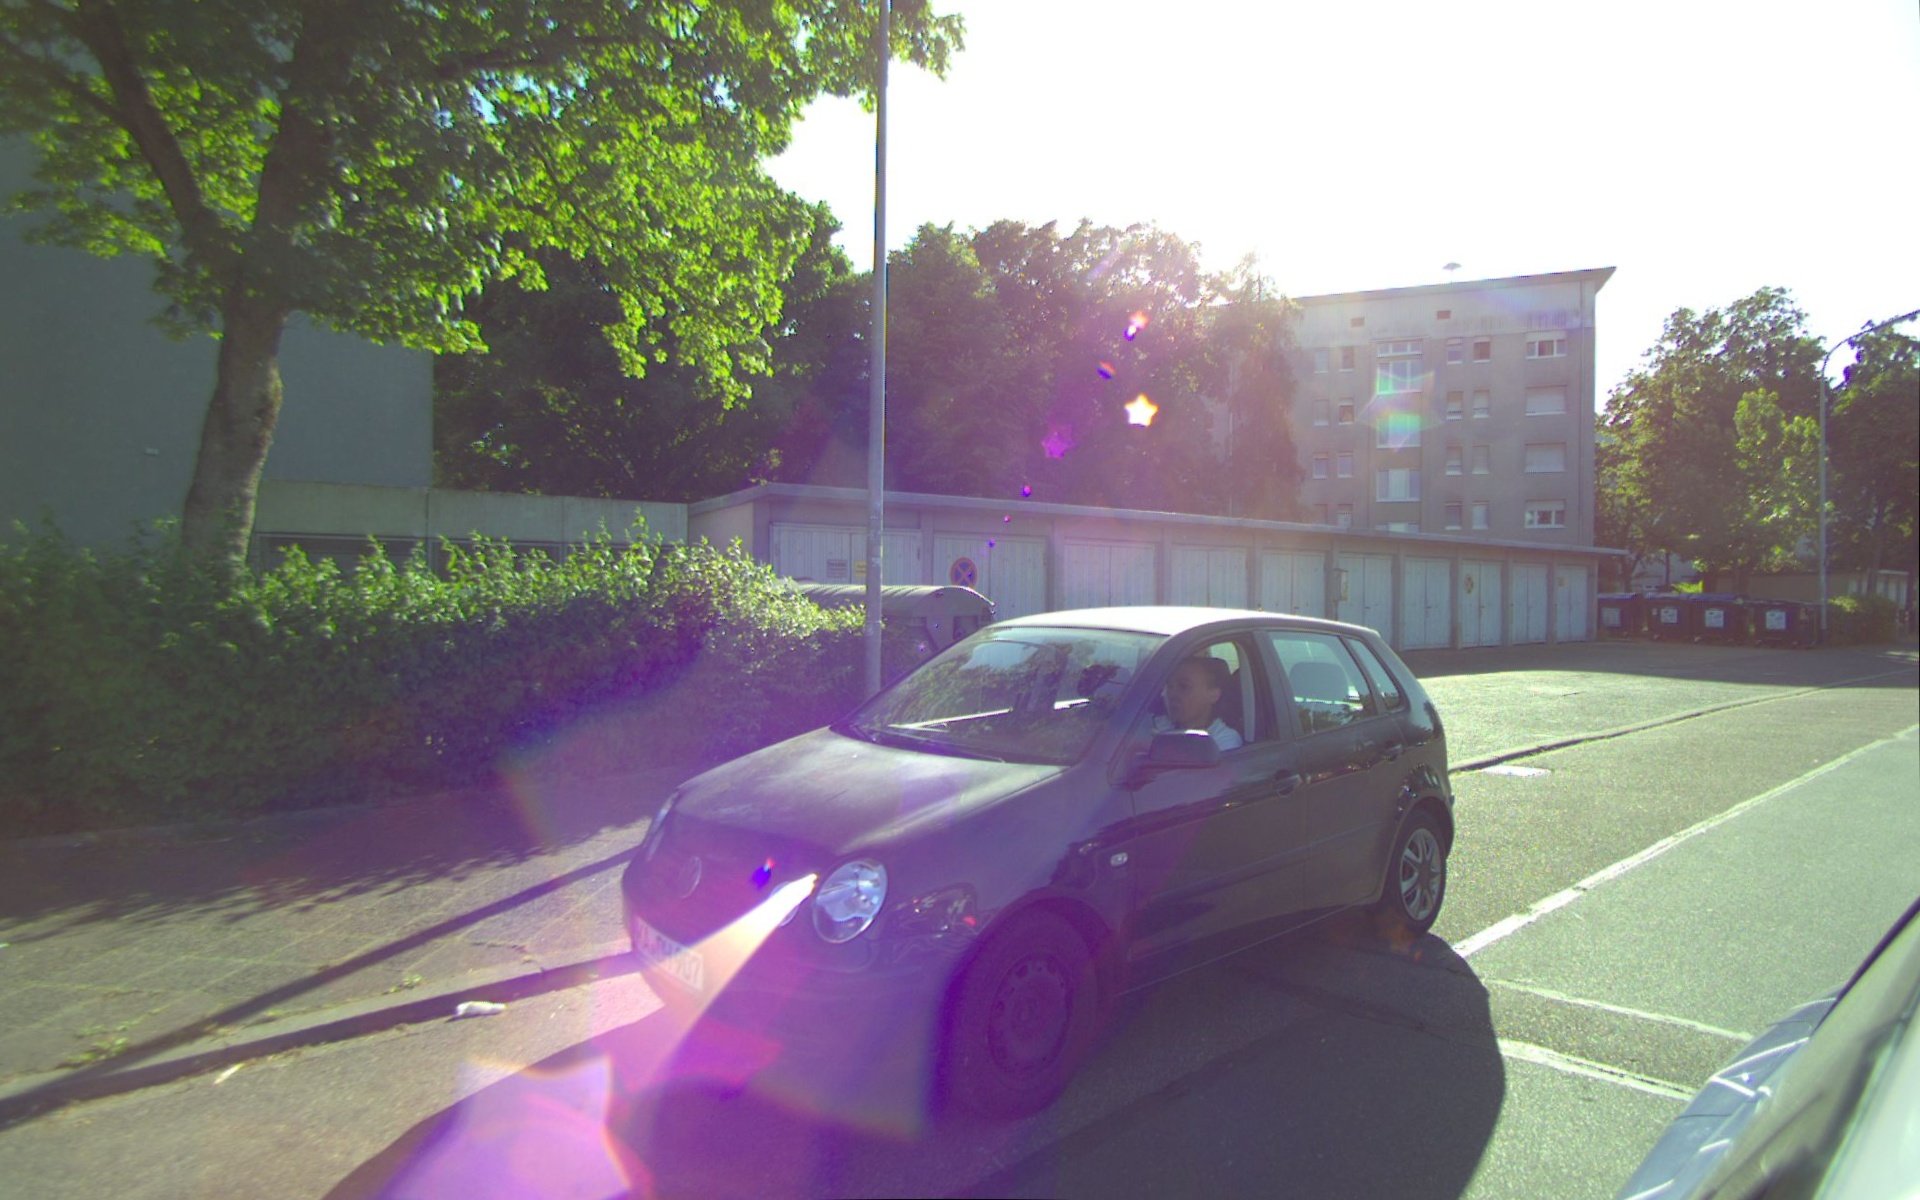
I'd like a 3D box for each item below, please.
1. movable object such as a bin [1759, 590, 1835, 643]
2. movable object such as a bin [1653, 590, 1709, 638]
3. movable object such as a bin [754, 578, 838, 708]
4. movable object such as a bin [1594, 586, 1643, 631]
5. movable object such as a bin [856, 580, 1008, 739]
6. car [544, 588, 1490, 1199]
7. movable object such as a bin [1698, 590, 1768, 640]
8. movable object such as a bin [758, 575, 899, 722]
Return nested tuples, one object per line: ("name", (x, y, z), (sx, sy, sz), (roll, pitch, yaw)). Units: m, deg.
("movable object such as a bin", (22.749, 0.421, 27.519), (1.031, 1.364, 1.256), (-1, 1, -25))
("movable object such as a bin", (21.667, 0.406, 30.421), (0.847, 1.364, 1.081), (-1, 1, -25))
("movable object such as a bin", (-1.895, 0.467, 11.700), (0.676, 1.433, 0.725), (-1, 1, -40))
("movable object such as a bin", (21.633, 0.280, 33.260), (0.817, 1.434, 1.080), (-1, 1, -31))
("movable object such as a bin", (-0.290, 0.523, 9.833), (0.898, 1.421, 1.240), (-1, 1, -40))
("car", (0.525, 0.690, 4.153), (3.814, 1.420, 1.650), (-1, 2, -41))
("movable object such as a bin", (22.201, 0.412, 29.075), (1.031, 1.364, 1.256), (-1, 1, -25))
("movable object such as a bin", (-1.405, 0.467, 10.705), (0.934, 1.433, 1.277), (-1, 1, -40))
